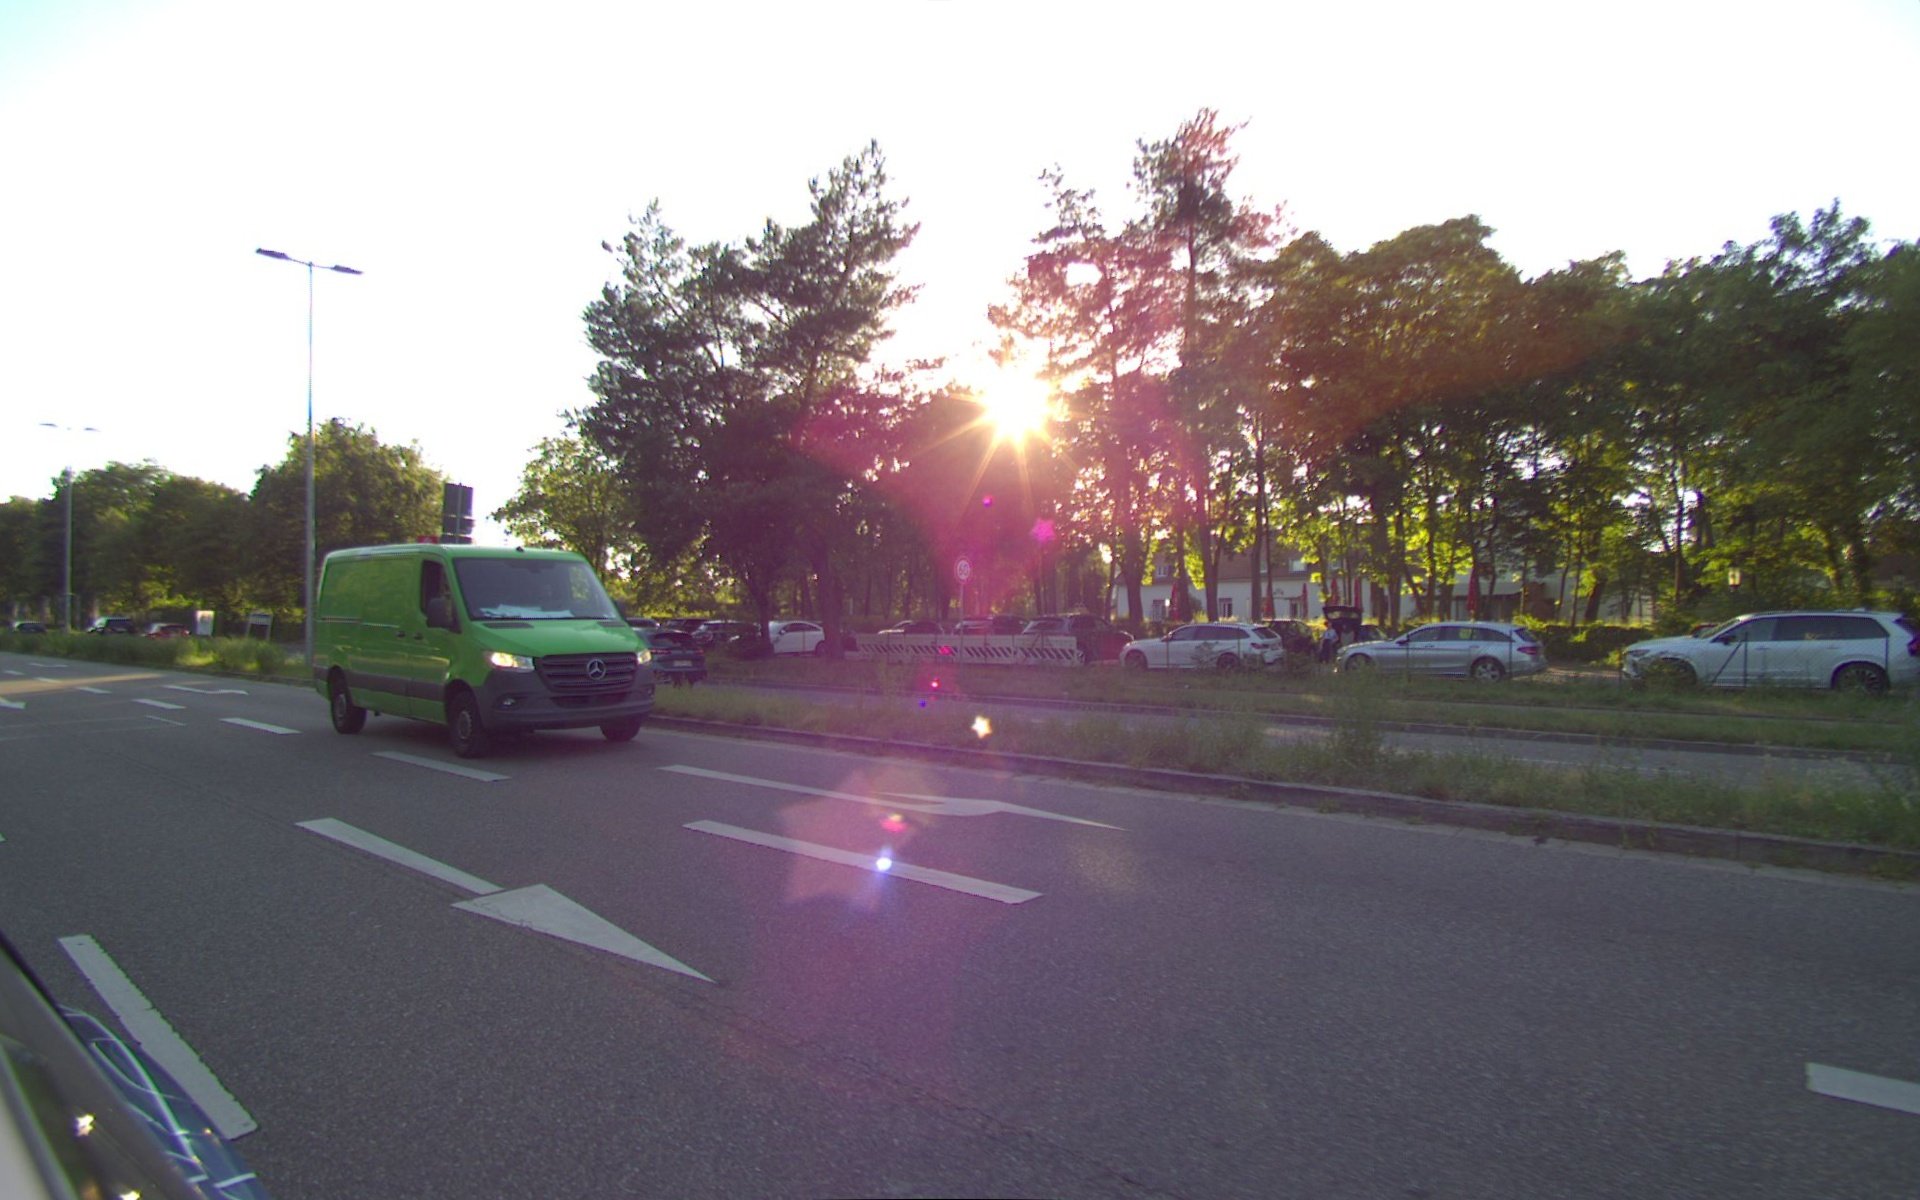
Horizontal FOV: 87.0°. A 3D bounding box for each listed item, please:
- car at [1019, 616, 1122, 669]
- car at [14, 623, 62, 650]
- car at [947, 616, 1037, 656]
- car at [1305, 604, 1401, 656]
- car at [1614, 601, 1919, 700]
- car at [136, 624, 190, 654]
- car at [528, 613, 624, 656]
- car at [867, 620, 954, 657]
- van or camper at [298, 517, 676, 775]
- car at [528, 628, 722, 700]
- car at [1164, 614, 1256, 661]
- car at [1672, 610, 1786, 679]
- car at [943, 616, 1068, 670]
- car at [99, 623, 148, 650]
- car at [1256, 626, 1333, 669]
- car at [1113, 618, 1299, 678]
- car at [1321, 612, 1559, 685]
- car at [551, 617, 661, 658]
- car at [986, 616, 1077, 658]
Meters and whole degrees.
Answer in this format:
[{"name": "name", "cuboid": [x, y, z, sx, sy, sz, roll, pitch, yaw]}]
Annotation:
[{"name": "car", "cuboid": [3.373, 1.258, 30.615, 1.658, 1.538, 3.058, -2, -2, 40]}, {"name": "car", "cuboid": [-57.776, 2.279, 63.409, 3.998, 1.552, 1.737, -1, 0, 41]}, {"name": "car", "cuboid": [1.399, 1.536, 43.532, 1.766, 1.663, 3.944, -2, -2, 42]}, {"name": "car", "cuboid": [13.270, 1.006, 34.070, 1.766, 1.663, 3.945, -2, -2, 41]}, {"name": "car", "cuboid": [16.379, 0.986, 20.654, 4.916, 1.800, 1.974, -1, -2, 39]}, {"name": "car", "cuboid": [-45.886, 2.205, 58.251, 3.998, 1.552, 1.737, -1, 0, 41]}, {"name": "car", "cuboid": [-18.432, 1.652, 48.713, 1.765, 1.959, 3.946, -2, -2, 40]}, {"name": "car", "cuboid": [-2.265, 1.758, 46.895, 1.766, 1.663, 3.944, -2, -2, 42]}, {"name": "van or camper", "cuboid": [-5.963, 0.514, 12.294, 5.893, 2.439, 1.972, -2, -2, 41]}, {"name": "car", "cuboid": [-7.718, 1.393, 23.161, 4.503, 1.506, 1.976, -1, -2, 36]}, {"name": "car", "cuboid": [9.471, 1.395, 38.136, 1.766, 1.663, 3.945, -2, -2, 41]}, {"name": "car", "cuboid": [20.233, 1.138, 26.561, 1.919, 1.663, 3.942, -2, -2, 44]}, {"name": "car", "cuboid": [1.560, 1.364, 33.101, 1.770, 1.629, 4.468, -2, -2, 39]}, {"name": "car", "cuboid": [-52.207, 2.231, 63.162, 3.998, 1.552, 1.737, -1, 0, 41]}, {"name": "car", "cuboid": [11.780, 1.636, 35.561, 1.461, 1.266, 3.279, -2, 0, 40]}, {"name": "car", "cuboid": [6.856, 1.315, 28.474, 4.704, 1.560, 1.974, -1, -2, 39]}, {"name": "car", "cuboid": [11.588, 1.141, 24.607, 4.916, 1.619, 1.974, -1, -2, 39]}, {"name": "car", "cuboid": [-16.244, 1.718, 46.592, 1.908, 1.812, 4.440, -2, -2, 40]}, {"name": "car", "cuboid": [3.022, 1.520, 42.261, 1.766, 1.663, 3.944, -2, -2, 42]}]
